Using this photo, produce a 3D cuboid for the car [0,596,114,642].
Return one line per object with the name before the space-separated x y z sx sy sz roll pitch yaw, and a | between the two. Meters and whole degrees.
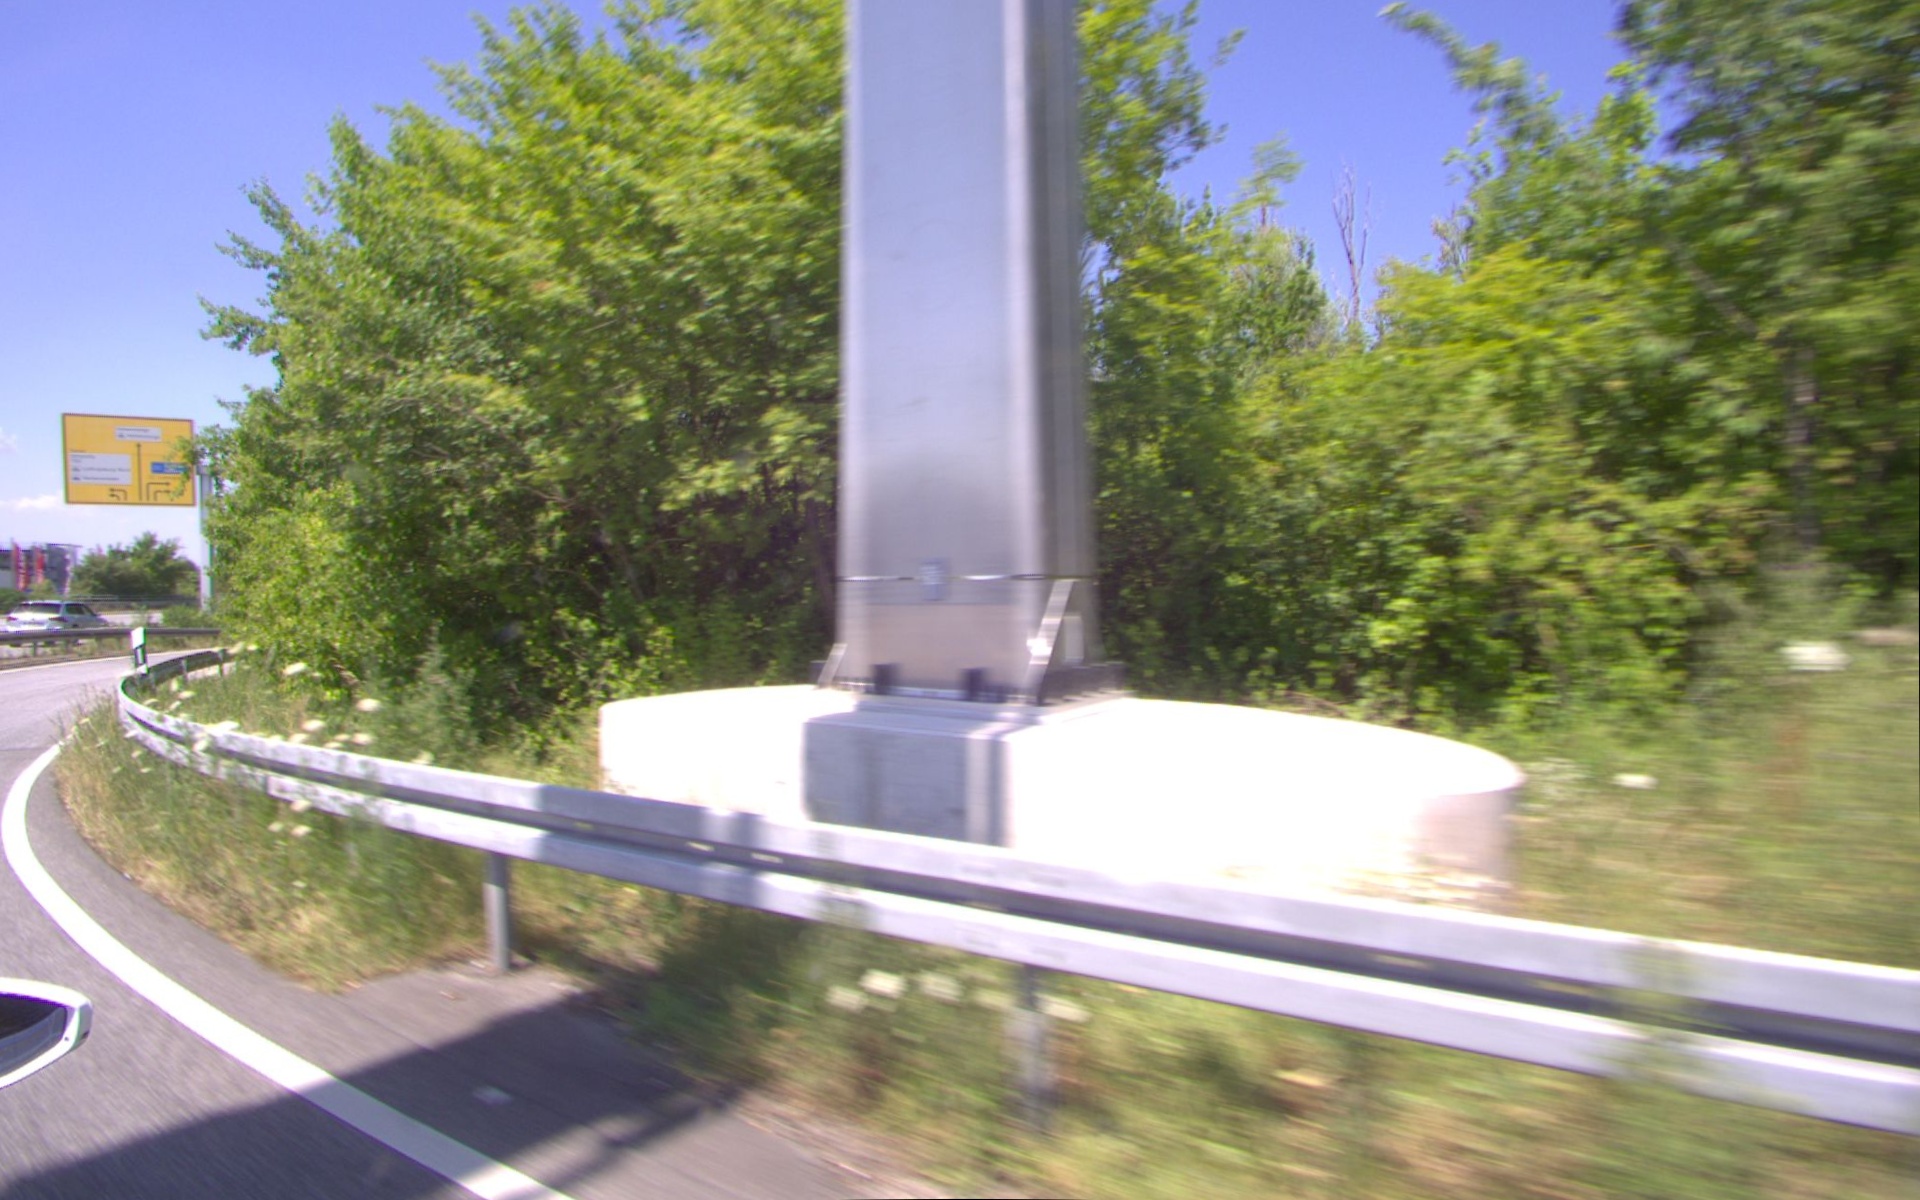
car | -33.288 0.656 36.946 1.968 1.525 4.379 -2 1 -24
